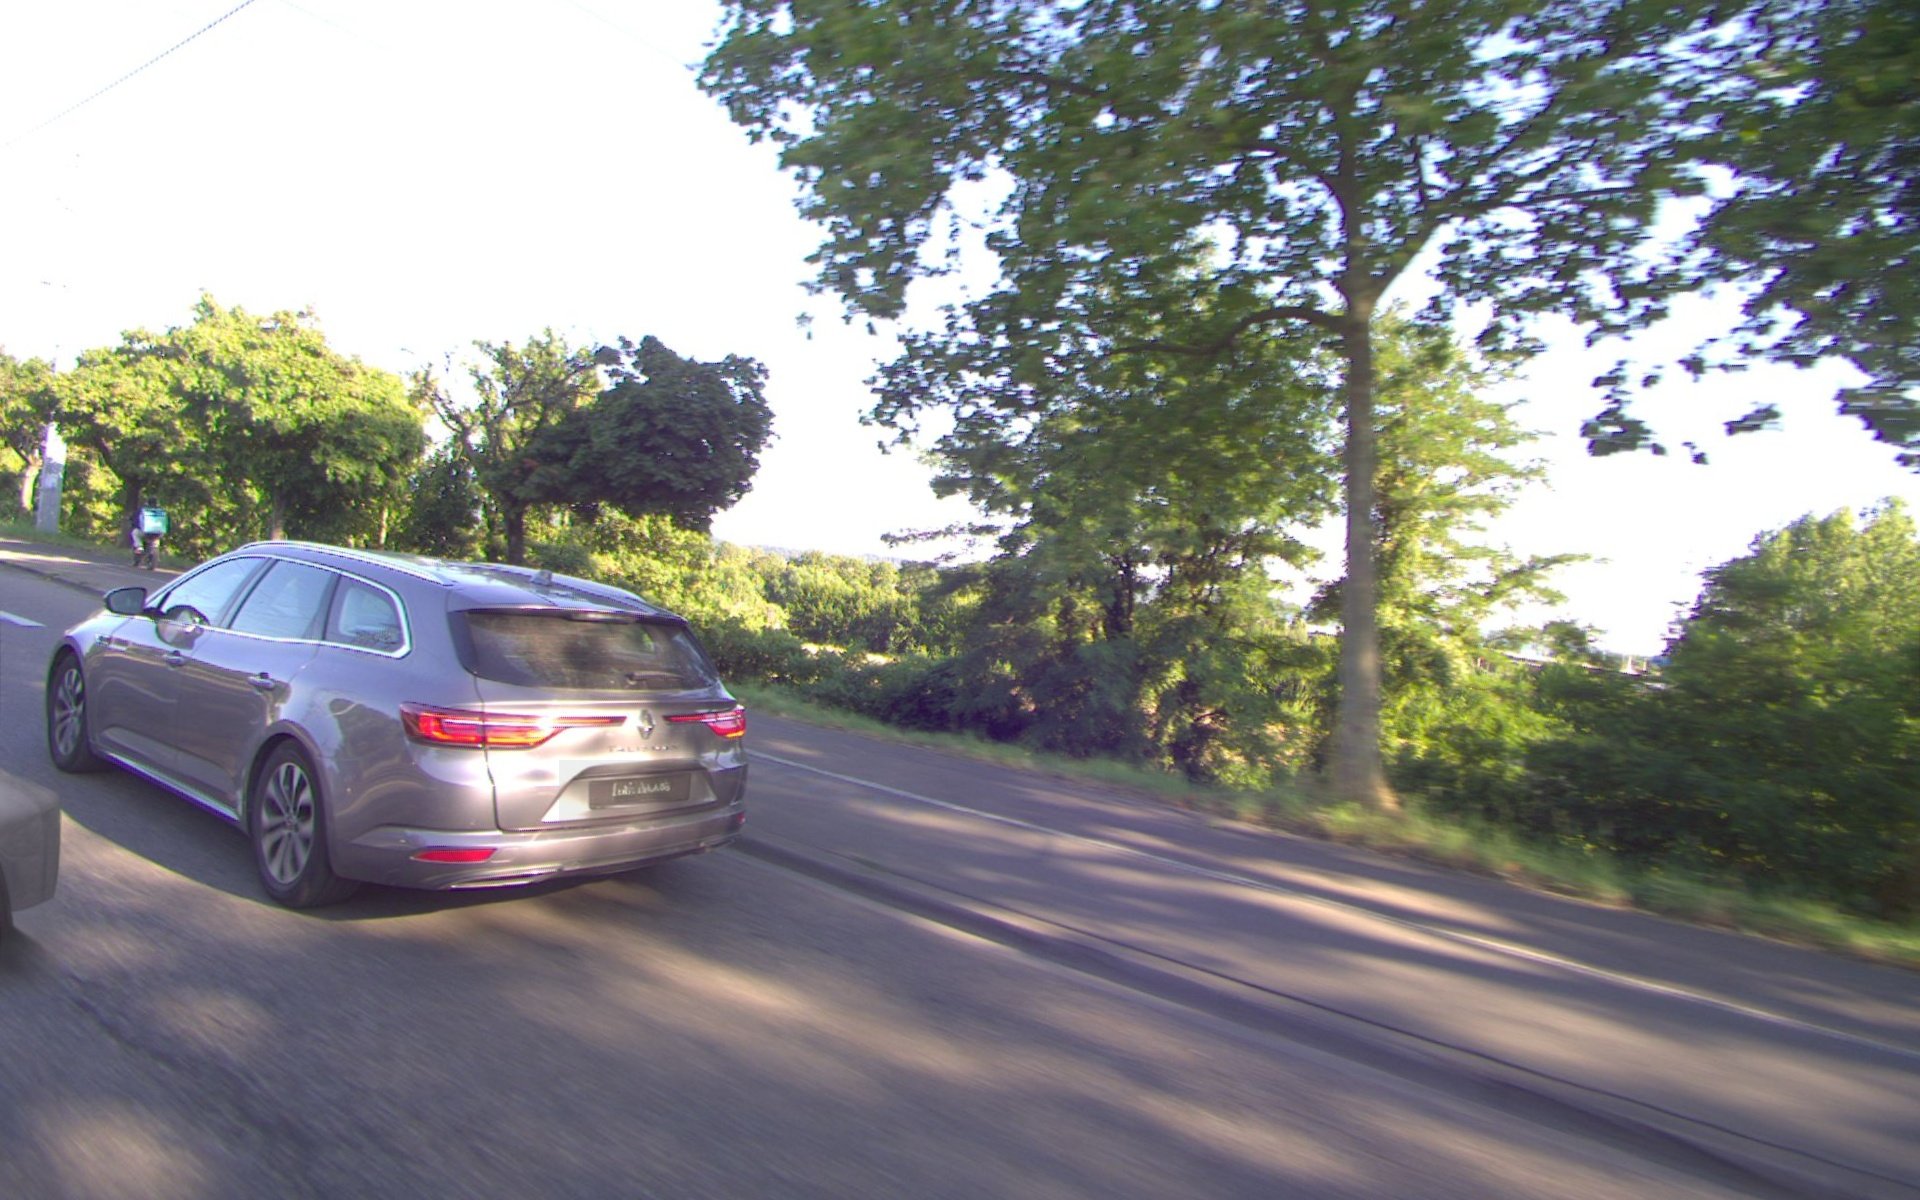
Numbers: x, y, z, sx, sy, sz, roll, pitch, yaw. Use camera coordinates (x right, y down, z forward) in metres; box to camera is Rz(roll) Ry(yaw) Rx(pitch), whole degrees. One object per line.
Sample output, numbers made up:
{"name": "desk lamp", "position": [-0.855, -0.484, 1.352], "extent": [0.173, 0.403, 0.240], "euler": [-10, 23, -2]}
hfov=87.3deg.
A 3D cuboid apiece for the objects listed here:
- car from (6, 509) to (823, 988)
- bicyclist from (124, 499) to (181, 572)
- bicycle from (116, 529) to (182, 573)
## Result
{"name": "car", "position": [-3.154, 0.464, 5.451], "extent": [4.585, 1.460, 1.878], "euler": [6, -1, 34]}
{"name": "bicyclist", "position": [-17.630, -1.410, 21.956], "extent": [1.043, 1.491, 0.626], "euler": [6, 4, 32]}
{"name": "bicycle", "position": [-17.819, -1.082, 22.089], "extent": [1.608, 0.845, 0.626], "euler": [6, 3, 32]}
